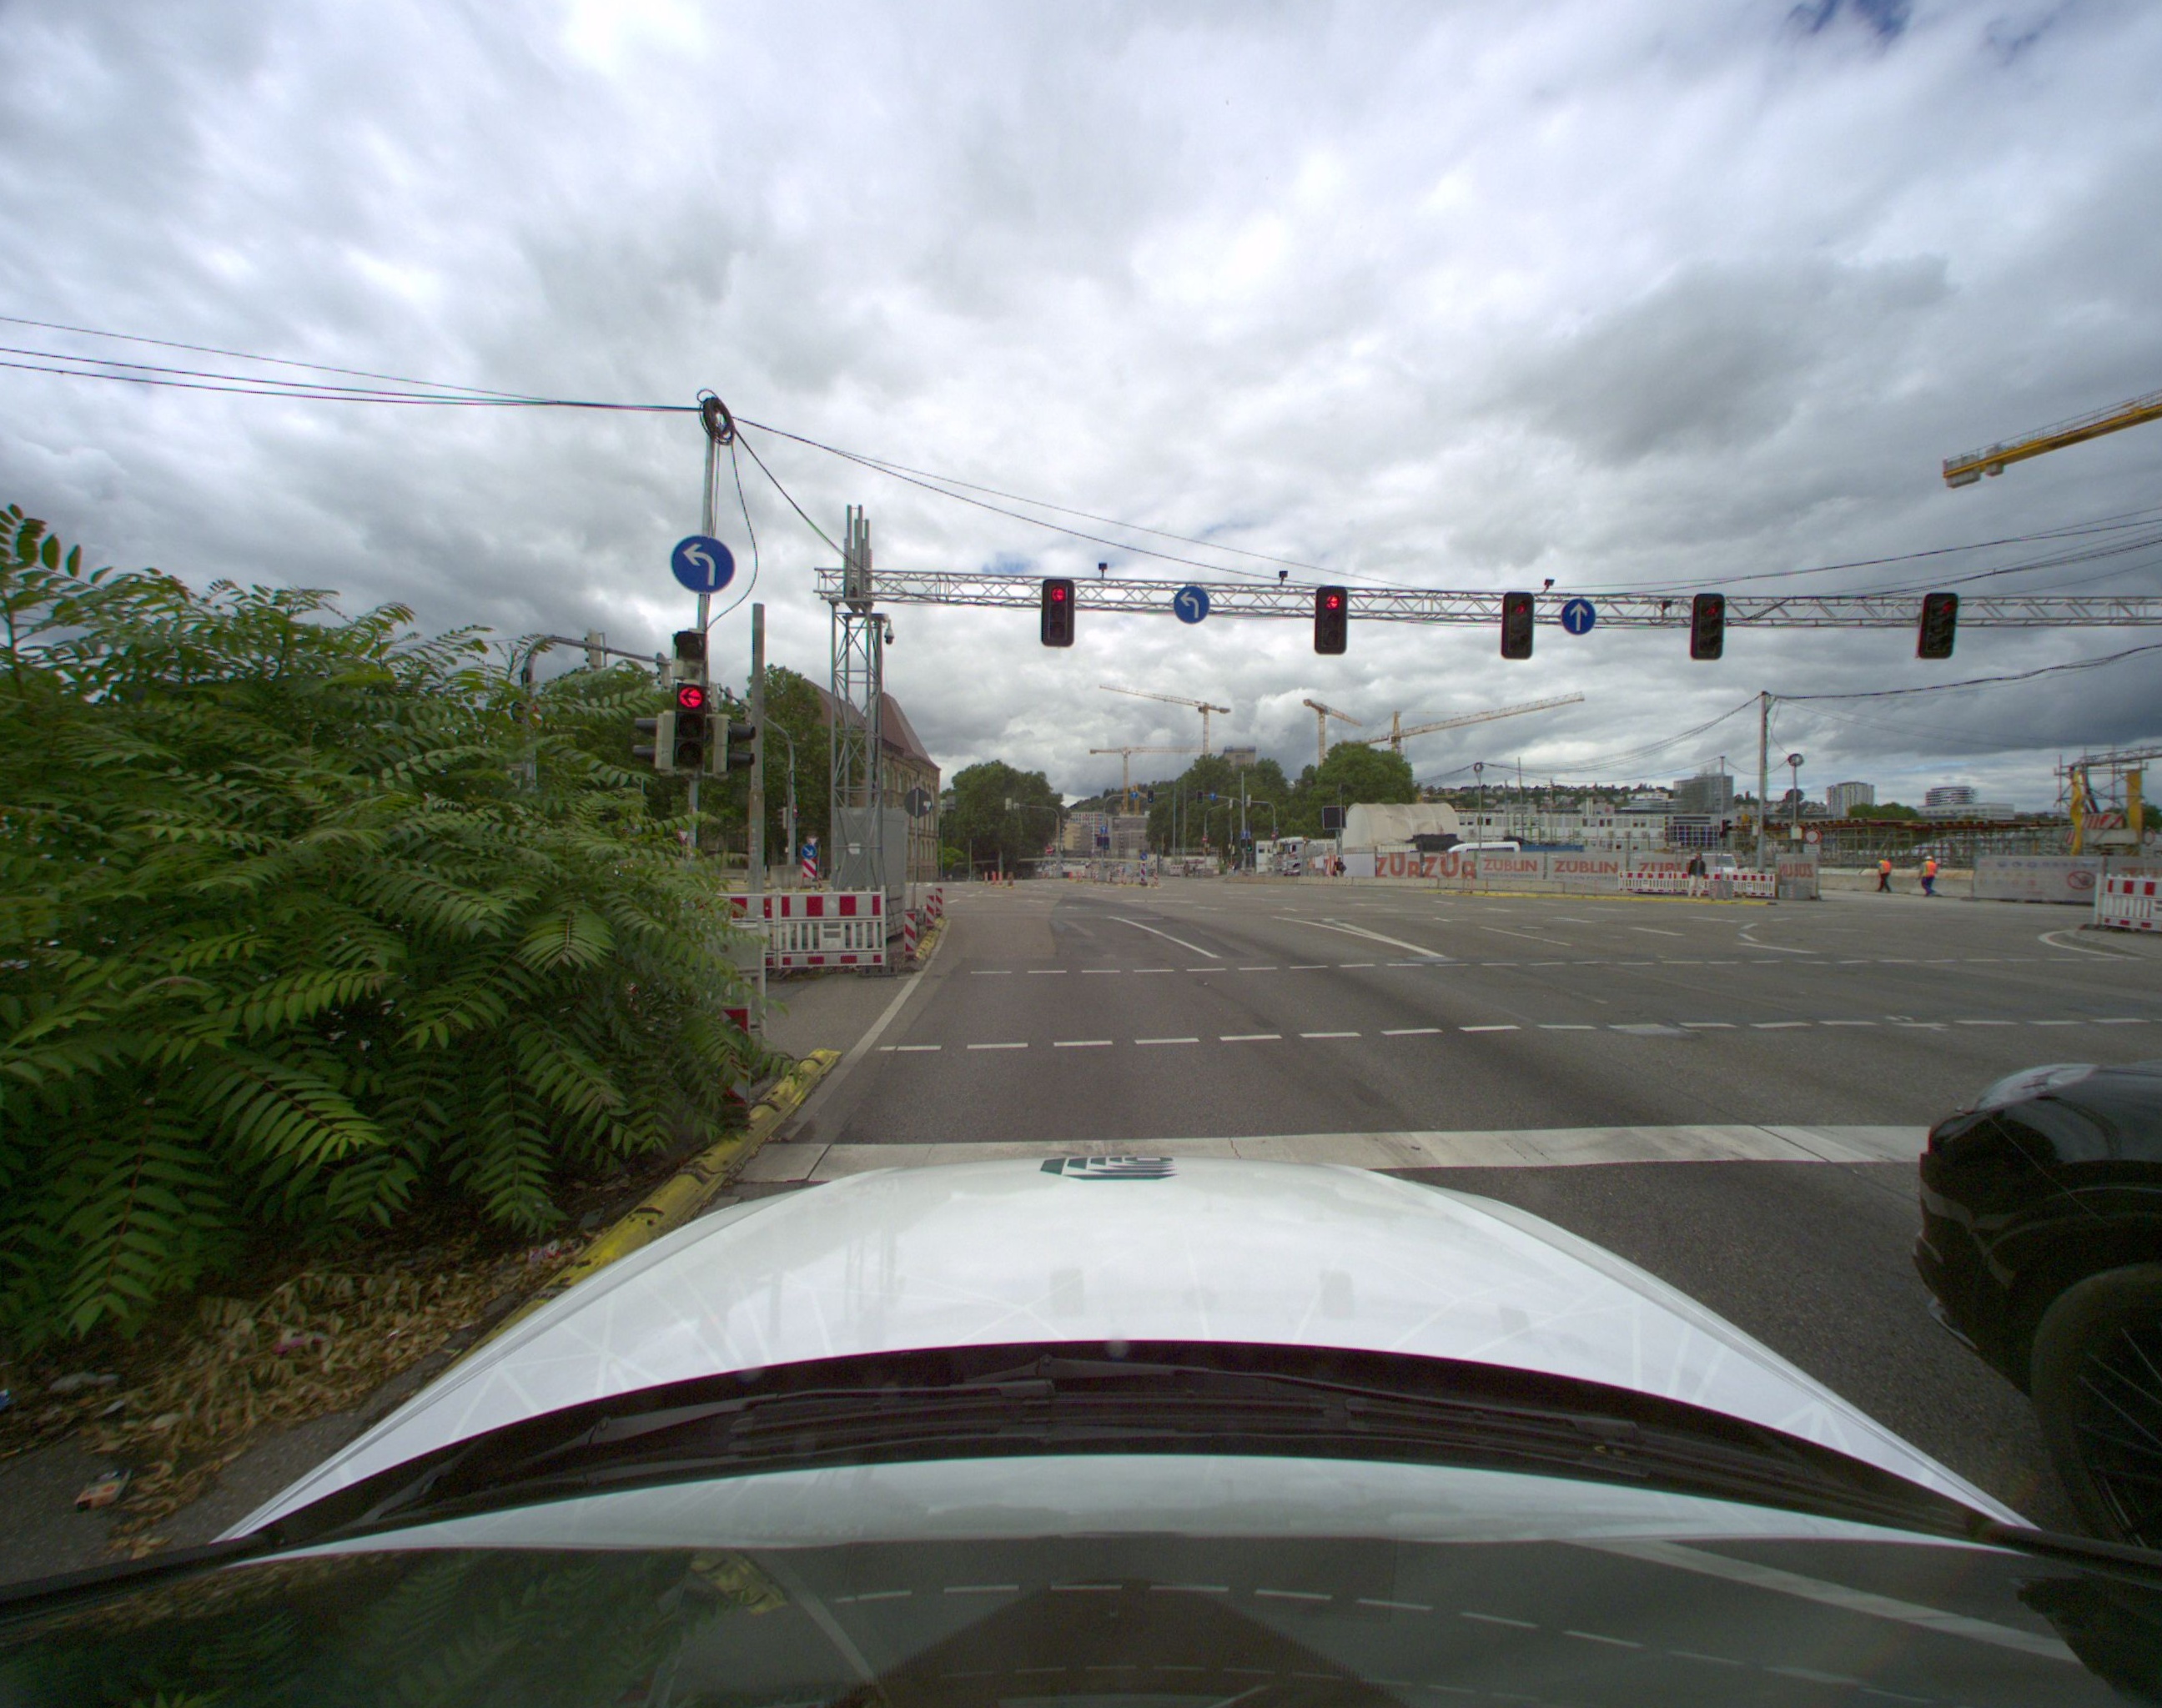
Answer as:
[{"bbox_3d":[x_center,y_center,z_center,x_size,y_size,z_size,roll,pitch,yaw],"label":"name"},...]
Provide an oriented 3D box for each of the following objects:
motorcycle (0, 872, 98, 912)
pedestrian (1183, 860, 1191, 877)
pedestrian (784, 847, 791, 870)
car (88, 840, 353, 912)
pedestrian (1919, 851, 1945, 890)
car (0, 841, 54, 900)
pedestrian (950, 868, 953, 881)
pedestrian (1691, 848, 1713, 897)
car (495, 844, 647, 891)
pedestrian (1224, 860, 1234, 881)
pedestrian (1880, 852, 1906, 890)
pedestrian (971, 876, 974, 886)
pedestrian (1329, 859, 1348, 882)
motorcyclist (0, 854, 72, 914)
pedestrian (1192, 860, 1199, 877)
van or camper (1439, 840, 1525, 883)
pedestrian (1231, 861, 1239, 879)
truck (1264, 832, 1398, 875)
[{"bbox_3d":[-25.474,0.911,19.807,2.051,0.924,0.756,0,0,-4],"label":"motorcycle"},{"bbox_3d":[10.332,1.418,79.340,0.726,1.689,0.678,0,0,1],"label":"pedestrian"},{"bbox_3d":[-26.715,0.409,74.097,0.530,2.014,0.423,1,-1,-42],"label":"pedestrian"},{"bbox_3d":[-21.214,0.520,20.254,4.302,1.676,1.998,0,0,-3],"label":"car"},{"bbox_3d":[37.991,0.740,36.350,0.651,1.717,0.516,0,0,-9],"label":"pedestrian"},{"bbox_3d":[-32.905,0.469,23.290,4.302,1.676,1.998,0,0,-3],"label":"car"},{"bbox_3d":[-20.994,3.338,132.017,0.522,2.014,0.567,0,0,2],"label":"pedestrian"},{"bbox_3d":[25.747,0.752,33.775,0.645,2.013,0.520,0,0,27],"label":"pedestrian"},{"bbox_3d":[-18.821,0.495,30.245,4.315,1.676,1.992,0,0,-12],"label":"car"},{"bbox_3d":[12.248,1.387,67.352,0.726,1.689,0.678,0,0,1],"label":"pedestrian"},{"bbox_3d":[38.986,0.826,39.090,0.651,1.795,0.617,0,0,-7],"label":"pedestrian"},{"bbox_3d":[-21.133,5.219,158.963,0.522,2.014,0.567,0,0,2],"label":"pedestrian"},{"bbox_3d":[15.998,1.032,50.575,0.798,1.378,0.900,0,0,-16],"label":"pedestrian"},{"bbox_3d":[-25.501,0.713,19.801,0.963,1.423,0.745,0,0,-4],"label":"motorcyclist"},{"bbox_3d":[11.192,1.434,79.696,0.564,1.689,0.472,0,0,1],"label":"pedestrian"},{"bbox_3d":[23.149,0.420,47.200,4.181,2.357,2.009,0,0,16],"label":"van or camper"},{"bbox_3d":[15.259,1.573,80.599,0.615,1.689,0.716,0,0,31],"label":"pedestrian"},{"bbox_3d":[25.033,-0.032,81.586,13.062,4.041,3.926,0,0,-18],"label":"truck"}]
